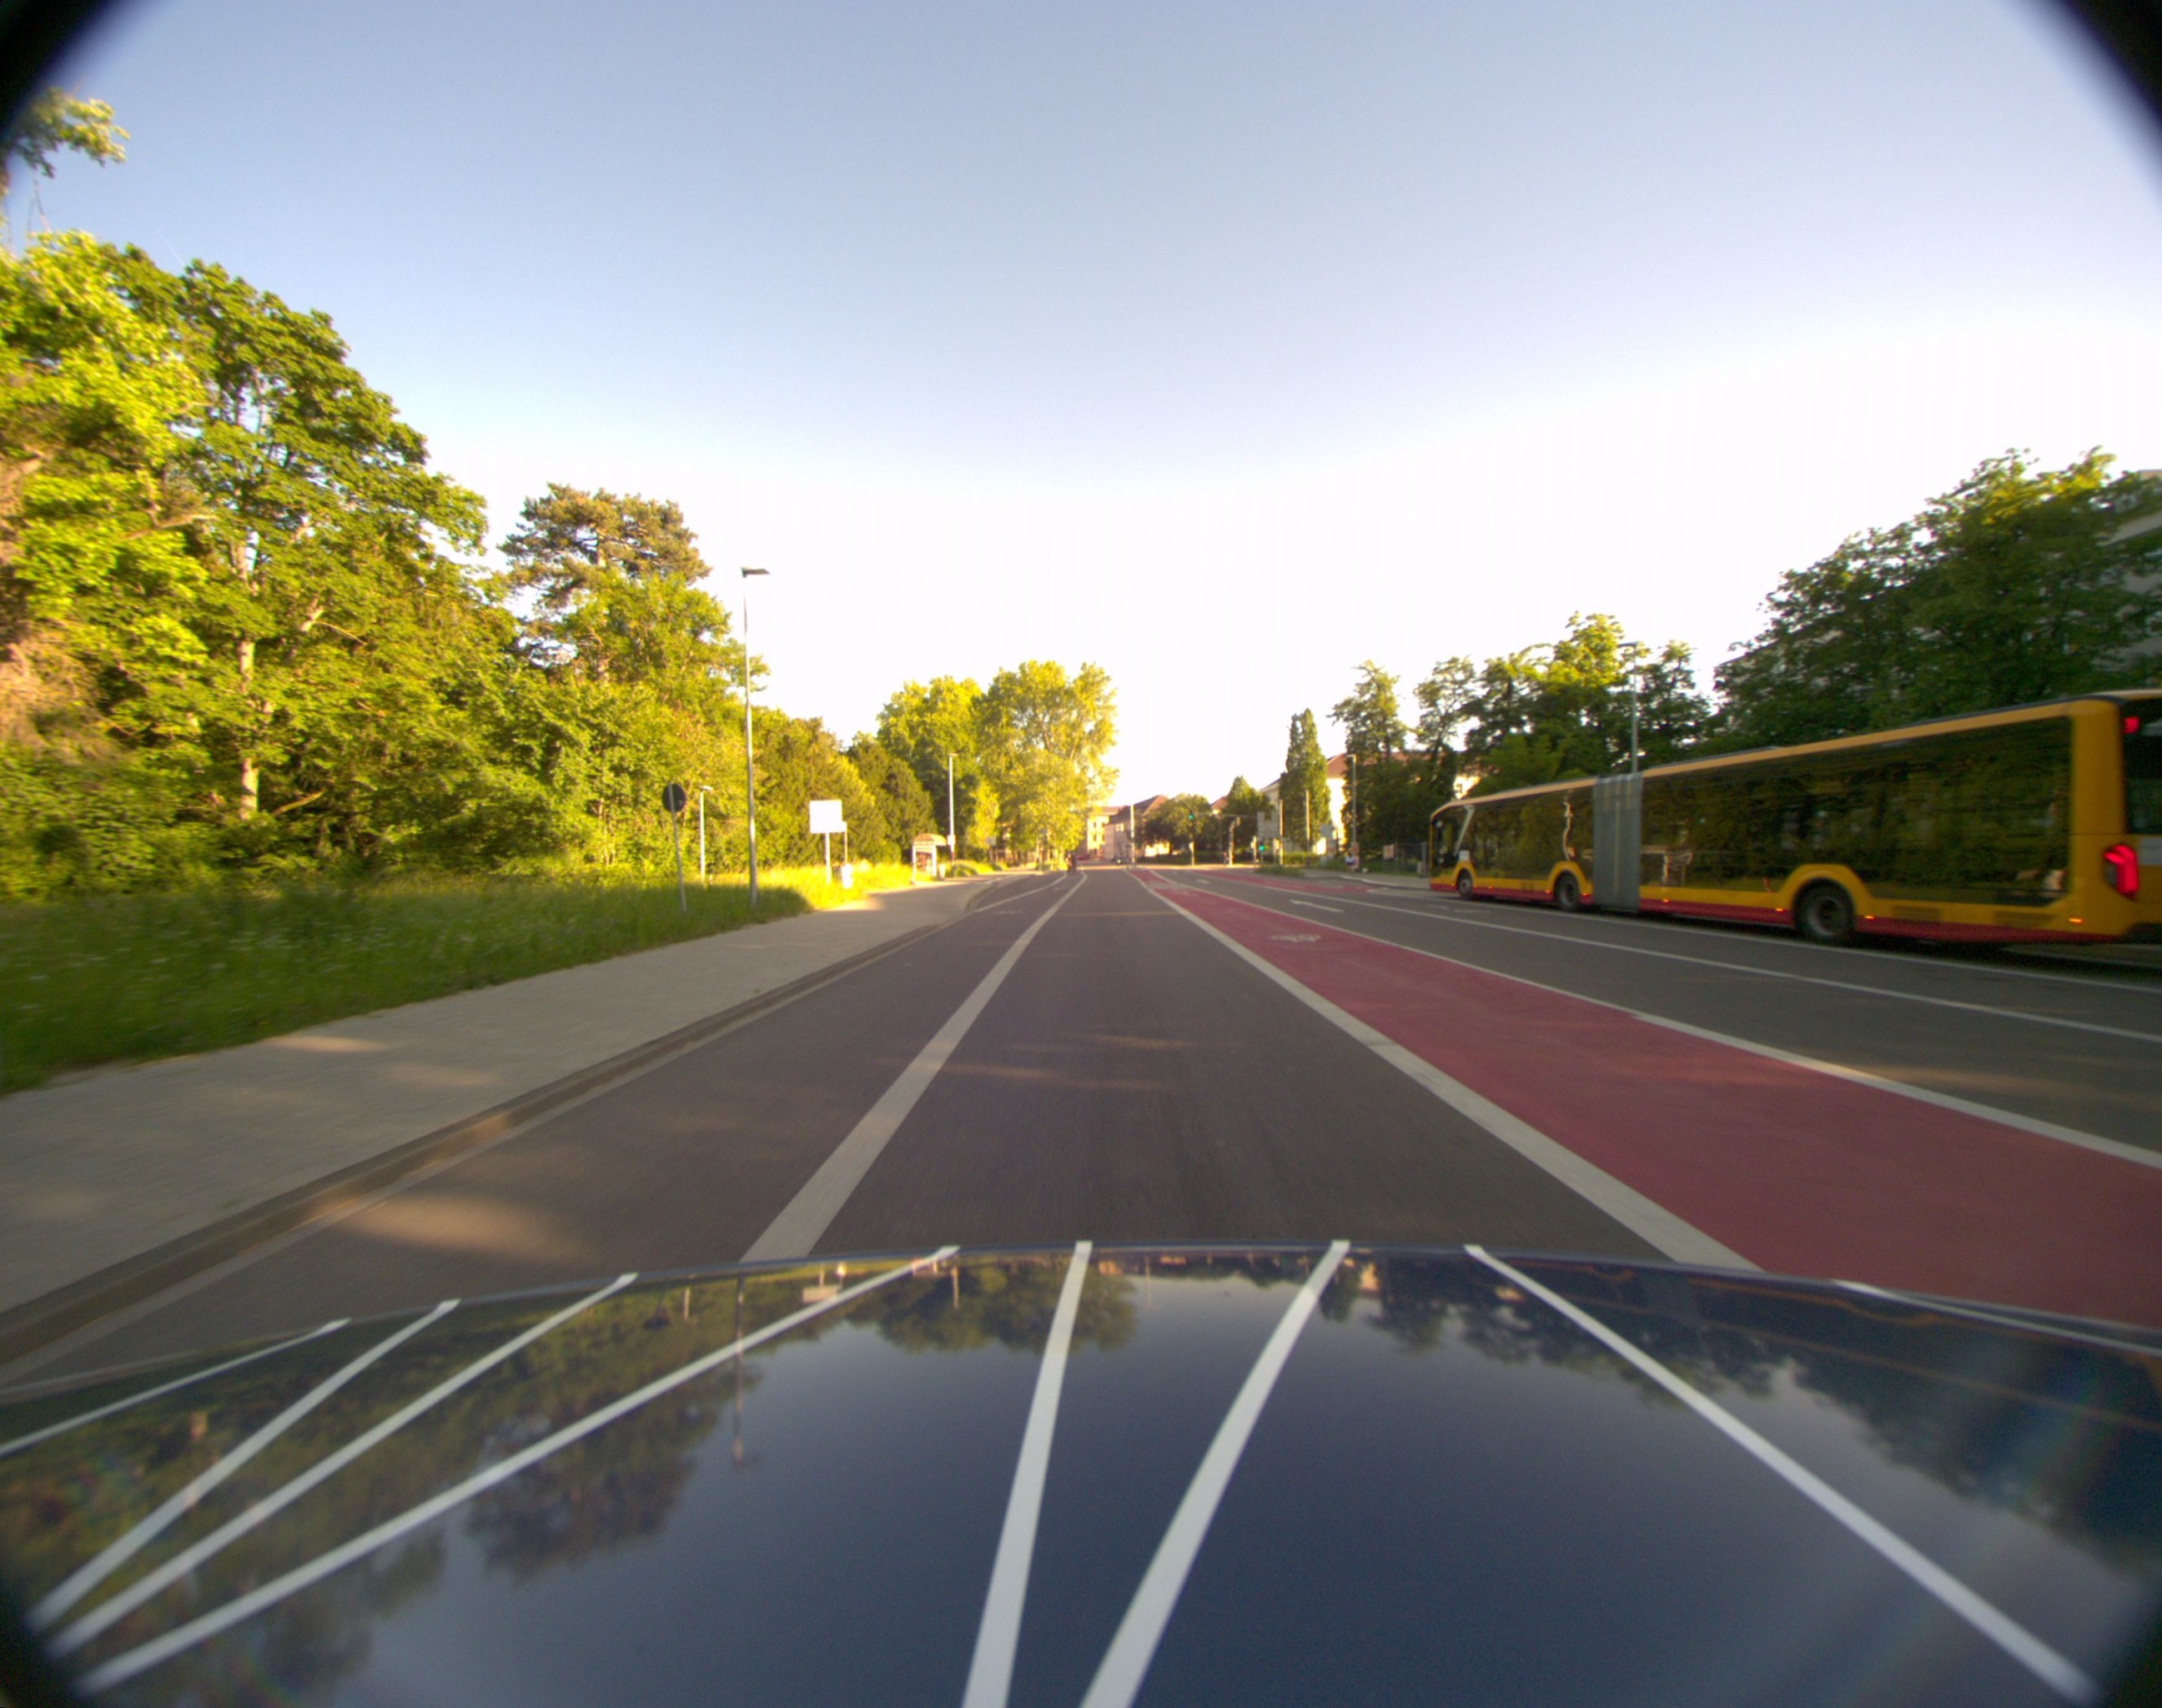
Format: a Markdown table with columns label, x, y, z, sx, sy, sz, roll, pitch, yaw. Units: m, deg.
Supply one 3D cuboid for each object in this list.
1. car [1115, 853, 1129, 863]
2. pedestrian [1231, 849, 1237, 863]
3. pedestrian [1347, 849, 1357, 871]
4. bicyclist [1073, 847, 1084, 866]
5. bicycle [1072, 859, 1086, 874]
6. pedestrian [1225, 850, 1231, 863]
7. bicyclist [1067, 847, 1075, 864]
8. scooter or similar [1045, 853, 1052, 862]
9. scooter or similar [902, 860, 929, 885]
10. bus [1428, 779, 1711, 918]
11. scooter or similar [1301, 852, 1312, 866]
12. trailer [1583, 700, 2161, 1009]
| label | x | y | z | sx | sy | sz | roll | pitch | yaw |
| --- | --- | --- | --- | --- | --- | --- | --- | --- | --- |
| car | 6.160 | 0.544 | 114.638 | 1.722 | 1.409 | 4.526 | -1 | 0 | -1 |
| pedestrian | 21.033 | 0.276 | 104.721 | 0.744 | 1.805 | 0.727 | -1 | 1 | 9 |
| pedestrian | 19.277 | 0.418 | 54.132 | 0.452 | 1.525 | 0.571 | -1 | 1 | -4 |
| bicyclist | -0.199 | 0.222 | 59.775 | 0.694 | 1.482 | 0.801 | 0 | 1 | 11 |
| bicycle | -0.179 | 0.966 | 59.835 | 0.694 | 1.089 | 2.138 | 0 | 0 | 11 |
| pedestrian | 19.761 | 0.322 | 102.172 | 0.691 | 1.672 | 0.681 | 0 | 1 | 9 |
| bicyclist | -0.842 | 0.137 | 64.873 | 0.695 | 1.493 | 0.892 | -1 | 1 | -3 |
| scooter or similar | -4.891 | 0.485 | 114.329 | 0.794 | 1.248 | 1.836 | 3 | 0 | 0 |
| scooter or similar | -8.693 | 0.964 | 39.914 | 0.722 | 1.240 | 1.330 | -1 | 0 | 23 |
| bus | 13.246 | -0.150 | 21.860 | 2.847 | 3.178 | 8.600 | -1 | 0 | 2 |
| scooter or similar | 21.818 | 0.499 | 73.422 | 0.693 | 1.286 | 1.499 | 0 | 1 | 30 |
| trailer | 12.924 | -0.099 | 12.864 | 2.861 | 3.336 | 9.362 | -3 | 1 | 2 |
